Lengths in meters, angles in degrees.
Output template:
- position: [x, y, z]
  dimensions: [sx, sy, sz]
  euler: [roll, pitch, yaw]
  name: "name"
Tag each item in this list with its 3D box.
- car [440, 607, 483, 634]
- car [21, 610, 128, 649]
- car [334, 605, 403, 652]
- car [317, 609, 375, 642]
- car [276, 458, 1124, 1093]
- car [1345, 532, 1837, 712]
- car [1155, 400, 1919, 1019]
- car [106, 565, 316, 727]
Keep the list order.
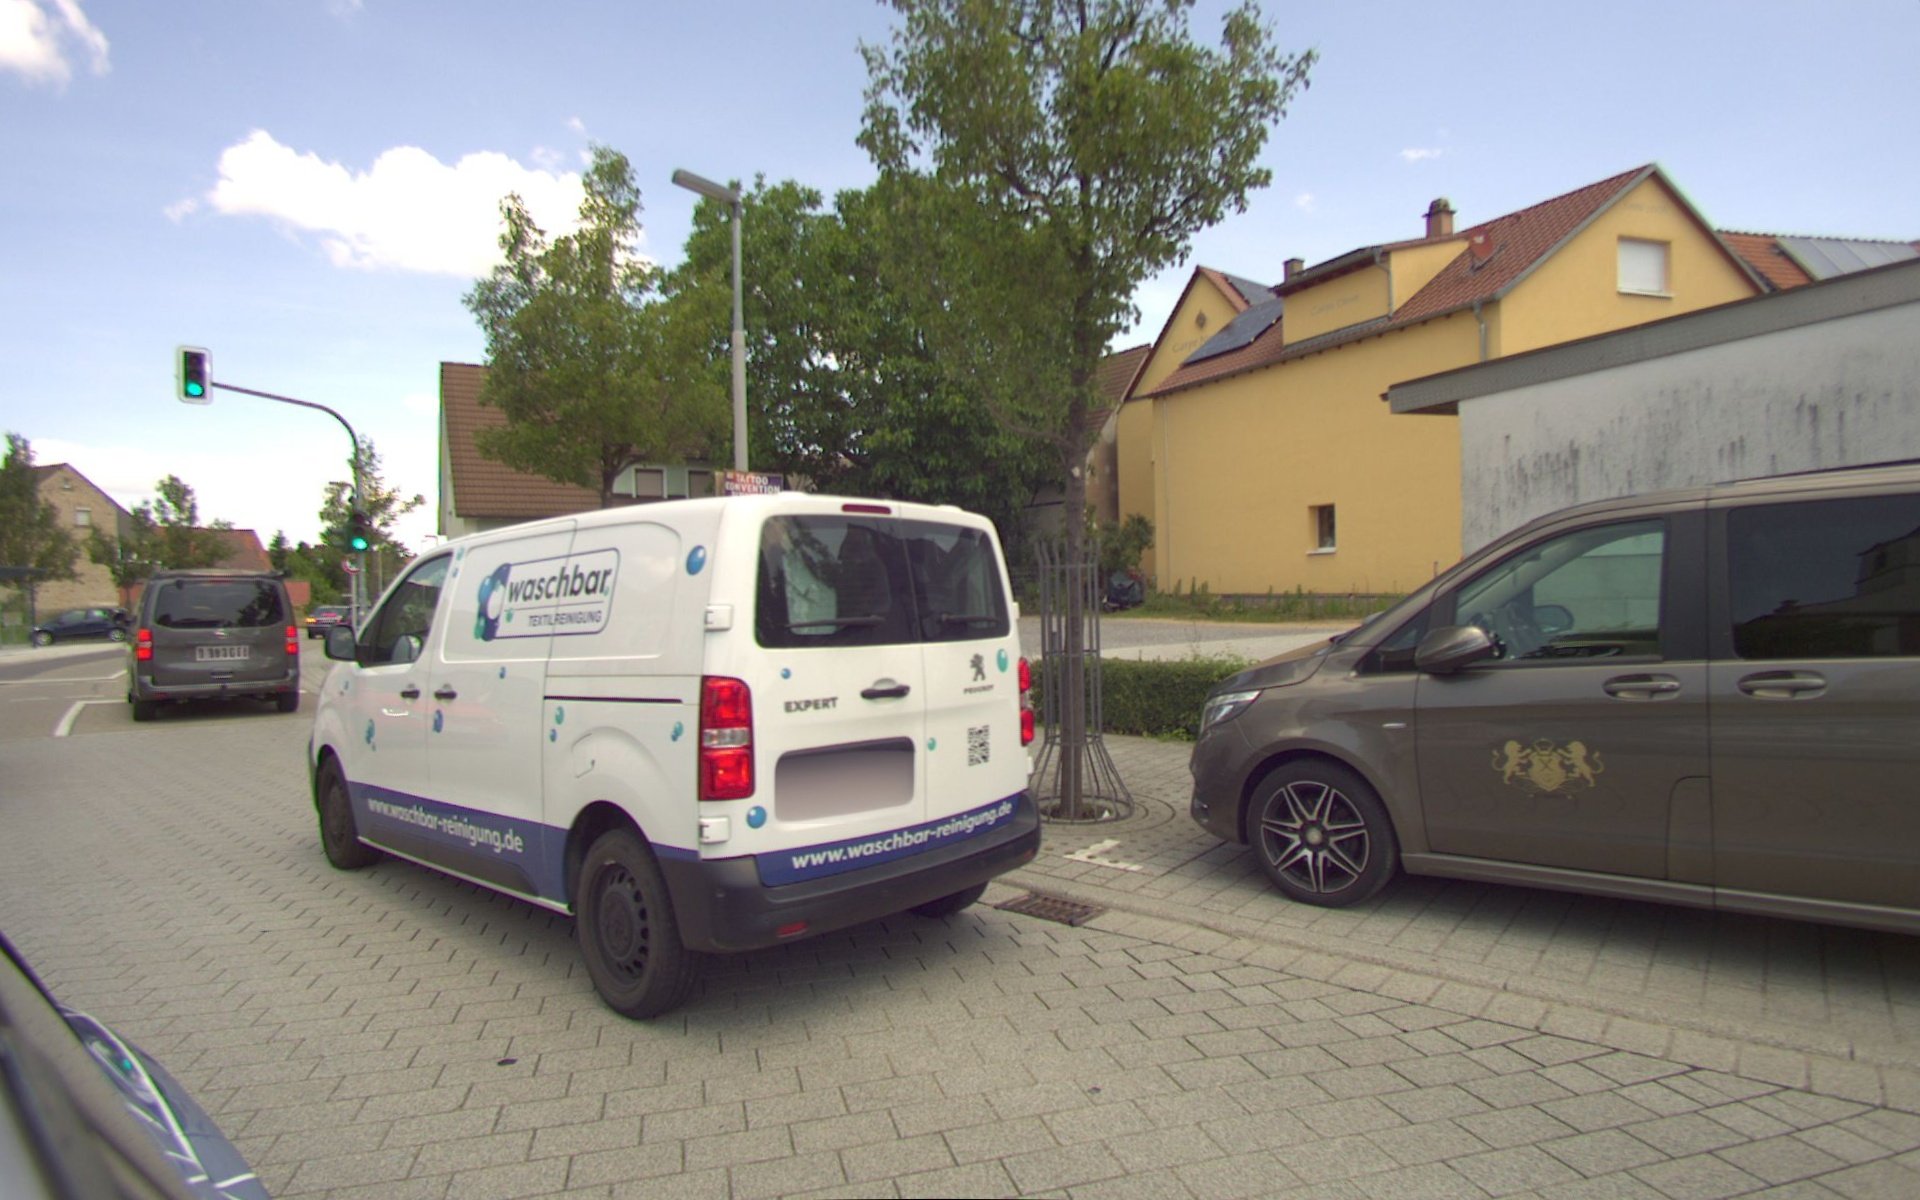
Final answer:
- position: [-30.955, 1.248, 62.895]
  dimensions: [1.633, 1.586, 3.702]
  euler: [-1, 0, -14]
  name: "car"
- position: [-40.277, 1.309, 46.128]
  dimensions: [3.492, 1.605, 1.670]
  euler: [-2, 0, -37]
  name: "car"
- position: [-20.755, 0.951, 35.669]
  dimensions: [1.708, 1.501, 4.515]
  euler: [-1, 0, -26]
  name: "car"
- position: [-28.219, 1.155, 46.635]
  dimensions: [1.857, 1.446, 4.611]
  euler: [0, -1, -26]
  name: "car"
- position: [-1.751, 0.545, 5.387]
  dimensions: [4.864, 1.894, 1.973]
  euler: [-1, 0, 42]
  name: "car"
- position: [6.676, 0.184, 11.423]
  dimensions: [1.966, 1.507, 4.450]
  euler: [-4, 1, -17]
  name: "car"
- position: [3.542, 0.341, 4.197]
  dimensions: [5.042, 2.005, 1.966]
  euler: [-1, 0, 41]
  name: "car"
- position: [-11.250, 0.604, 15.048]
  dimensions: [1.970, 2.029, 4.744]
  euler: [-1, -1, -43]
  name: "car"
